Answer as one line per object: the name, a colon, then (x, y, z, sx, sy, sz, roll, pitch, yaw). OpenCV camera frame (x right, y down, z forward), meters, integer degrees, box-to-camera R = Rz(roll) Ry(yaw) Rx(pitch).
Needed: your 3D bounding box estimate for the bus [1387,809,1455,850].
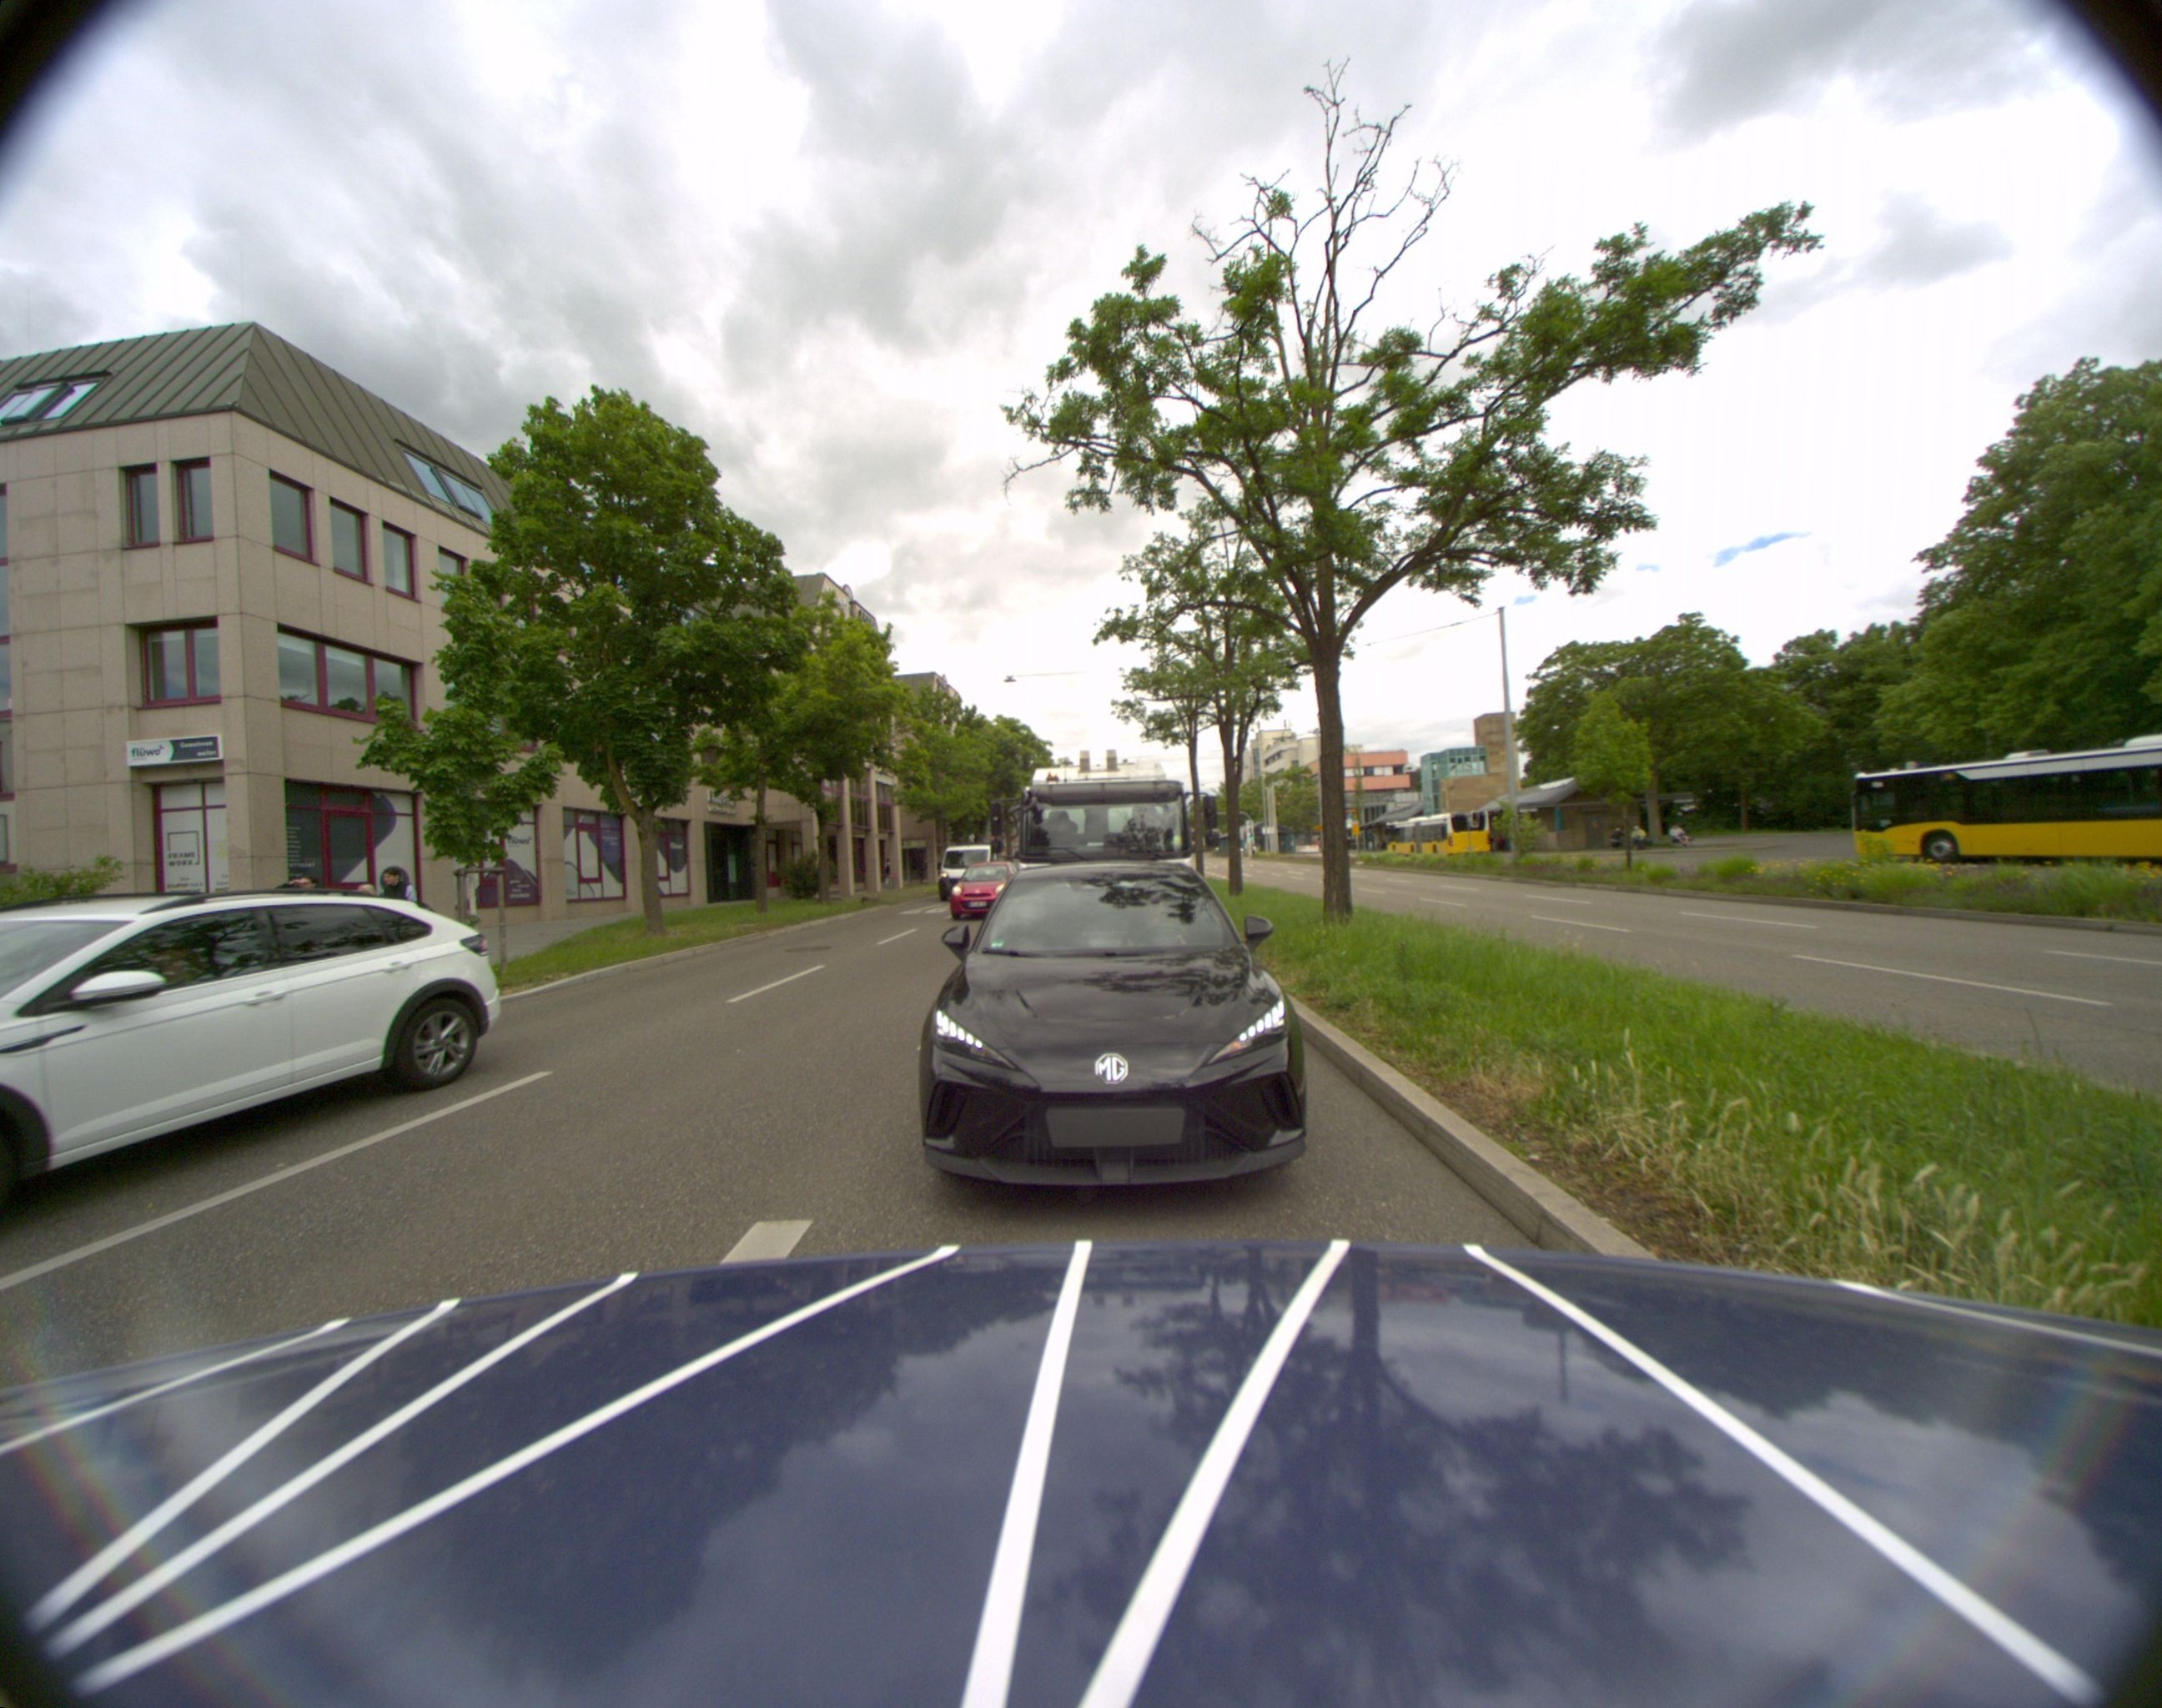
bus: (27.619, -1.897, 62.223, 2.887, 2.985, 9.182, -3, 0, 10)

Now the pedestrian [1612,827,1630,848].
pedestrian: (30.714, -0.925, 43.201, 0.599, 1.155, 0.743, -2, 1, 14)

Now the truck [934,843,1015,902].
truck: (-4.369, 0.680, 32.188, 2.216, 2.191, 5.844, -3, 1, 3)

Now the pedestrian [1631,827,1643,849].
pedestrian: (30.216, -0.885, 41.301, 0.367, 1.160, 0.899, -2, 1, 26)

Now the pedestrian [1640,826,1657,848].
pedestrian: (30.601, -0.896, 40.964, 0.598, 1.155, 0.744, -2, 1, 26)

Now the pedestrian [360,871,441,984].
pedestrian: (-11.302, 1.198, 12.639, 0.642, 1.795, 0.677, -3, 1, 1)

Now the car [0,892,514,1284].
car: (-5.565, 1.120, 4.185, 1.720, 1.546, 4.089, -2, 0, 1)

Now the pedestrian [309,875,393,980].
pedestrian: (-12.020, 1.183, 12.528, 0.642, 1.637, 0.677, -3, 1, 1)

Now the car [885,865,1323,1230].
car: (0.125, 0.869, 5.283, 1.827, 1.430, 4.000, -3, 0, 1)

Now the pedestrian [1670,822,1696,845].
pedestrian: (31.959, -1.077, 40.360, 0.650, 1.165, 0.925, -2, 1, 1)

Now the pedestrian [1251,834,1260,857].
pedestrian: (21.305, -1.012, 92.785, 0.903, 2.772, 1.148, -2, 1, 13)

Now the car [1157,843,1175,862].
car: (9.448, -0.149, 84.911, 1.726, 2.002, 4.001, -3, 0, 3)

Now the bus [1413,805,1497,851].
bus: (26.053, -1.700, 53.422, 2.887, 2.793, 9.182, -3, 0, 11)

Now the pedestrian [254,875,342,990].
pedestrian: (-12.787, 1.257, 12.428, 0.642, 1.795, 0.677, -3, 1, 1)

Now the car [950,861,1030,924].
car: (-2.489, 1.005, 21.637, 1.720, 1.549, 3.858, -1, 0, 1)

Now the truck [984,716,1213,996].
truck: (0.320, 0.021, 12.610, 2.544, 3.187, 7.369, -3, 0, 2)

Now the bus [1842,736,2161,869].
bus: (25.931, -1.232, 19.619, 2.888, 2.985, 10.397, -3, 0, 6)
